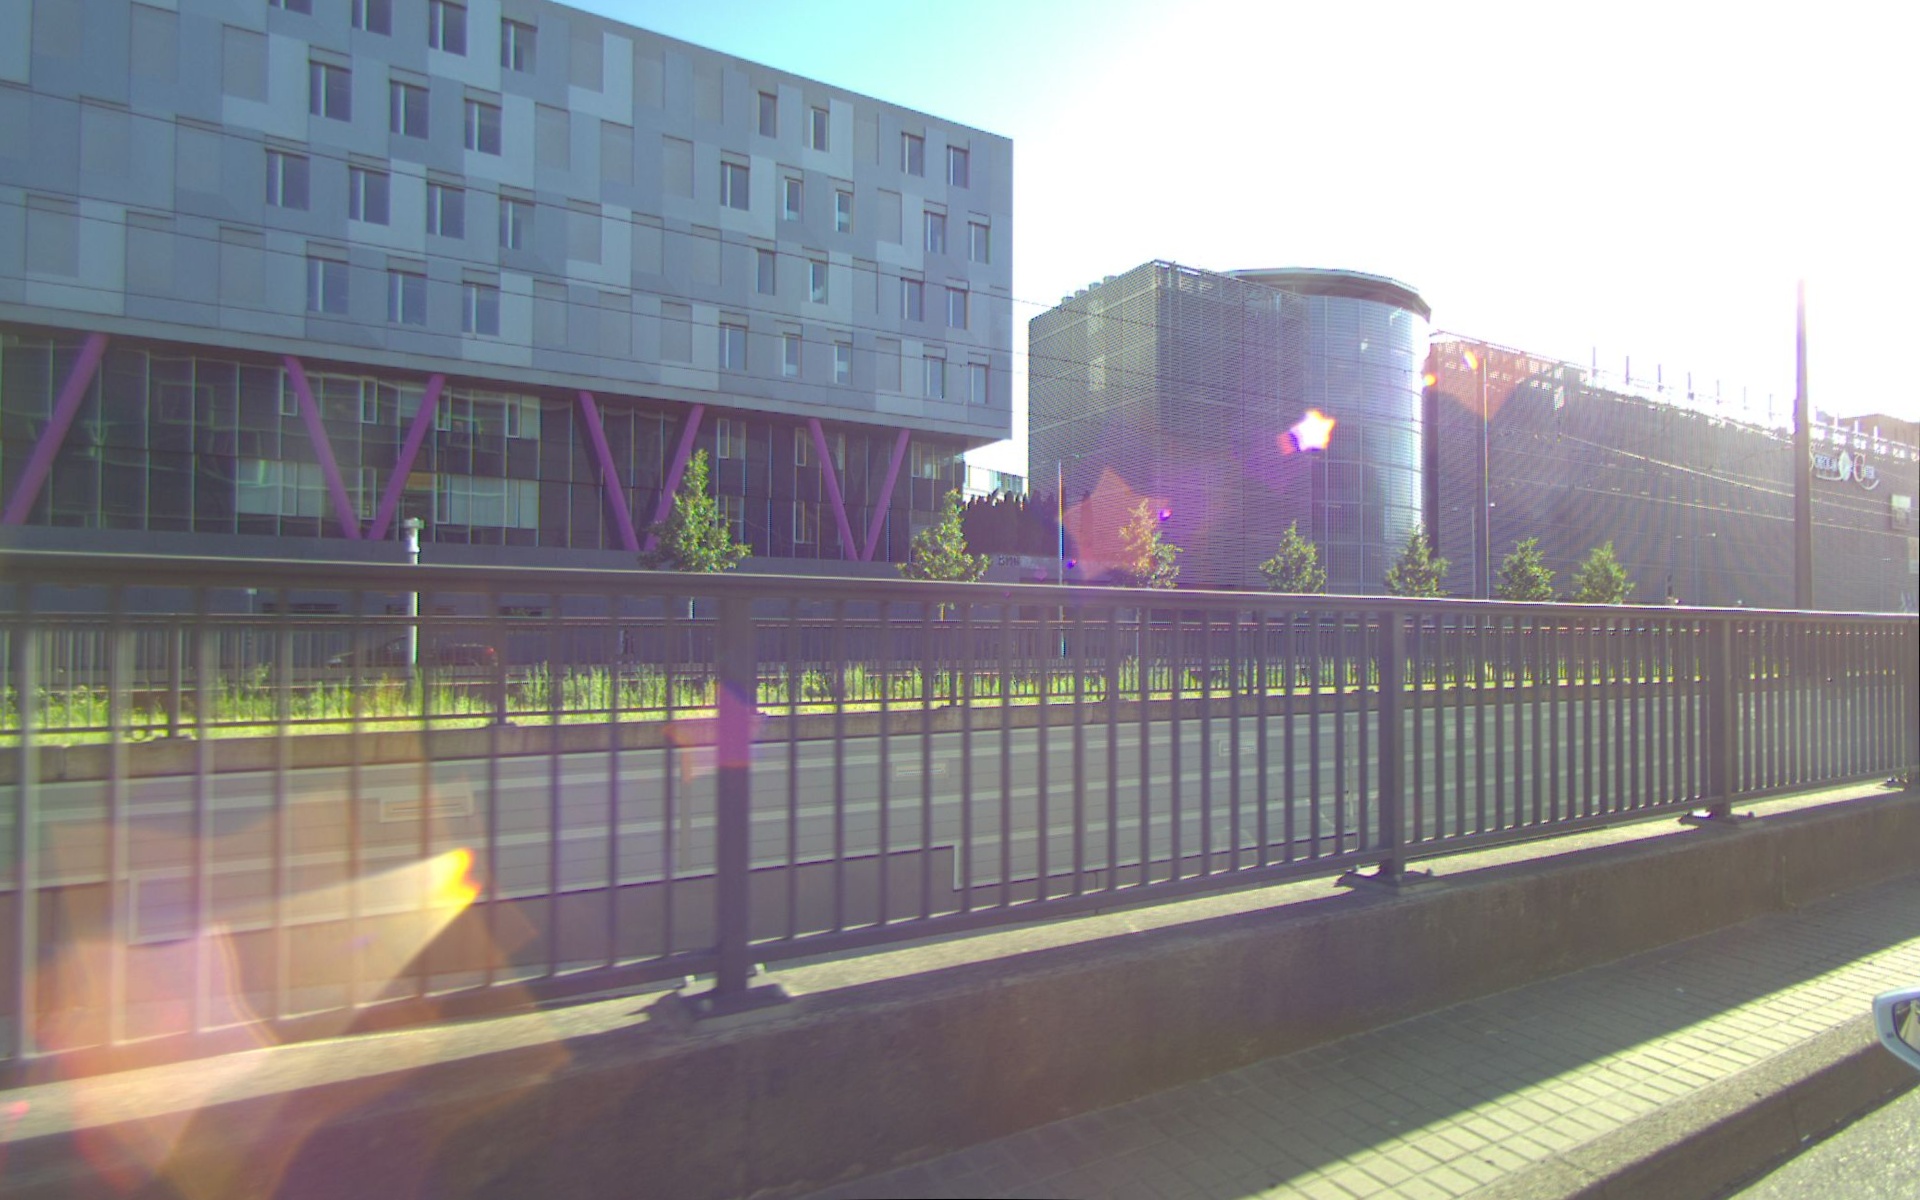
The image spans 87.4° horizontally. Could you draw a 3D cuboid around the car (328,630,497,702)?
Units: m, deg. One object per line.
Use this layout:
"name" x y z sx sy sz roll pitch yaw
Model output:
"car" -15.047 1.775 27.725 3.953 1.863 1.984 1 -3 -30
